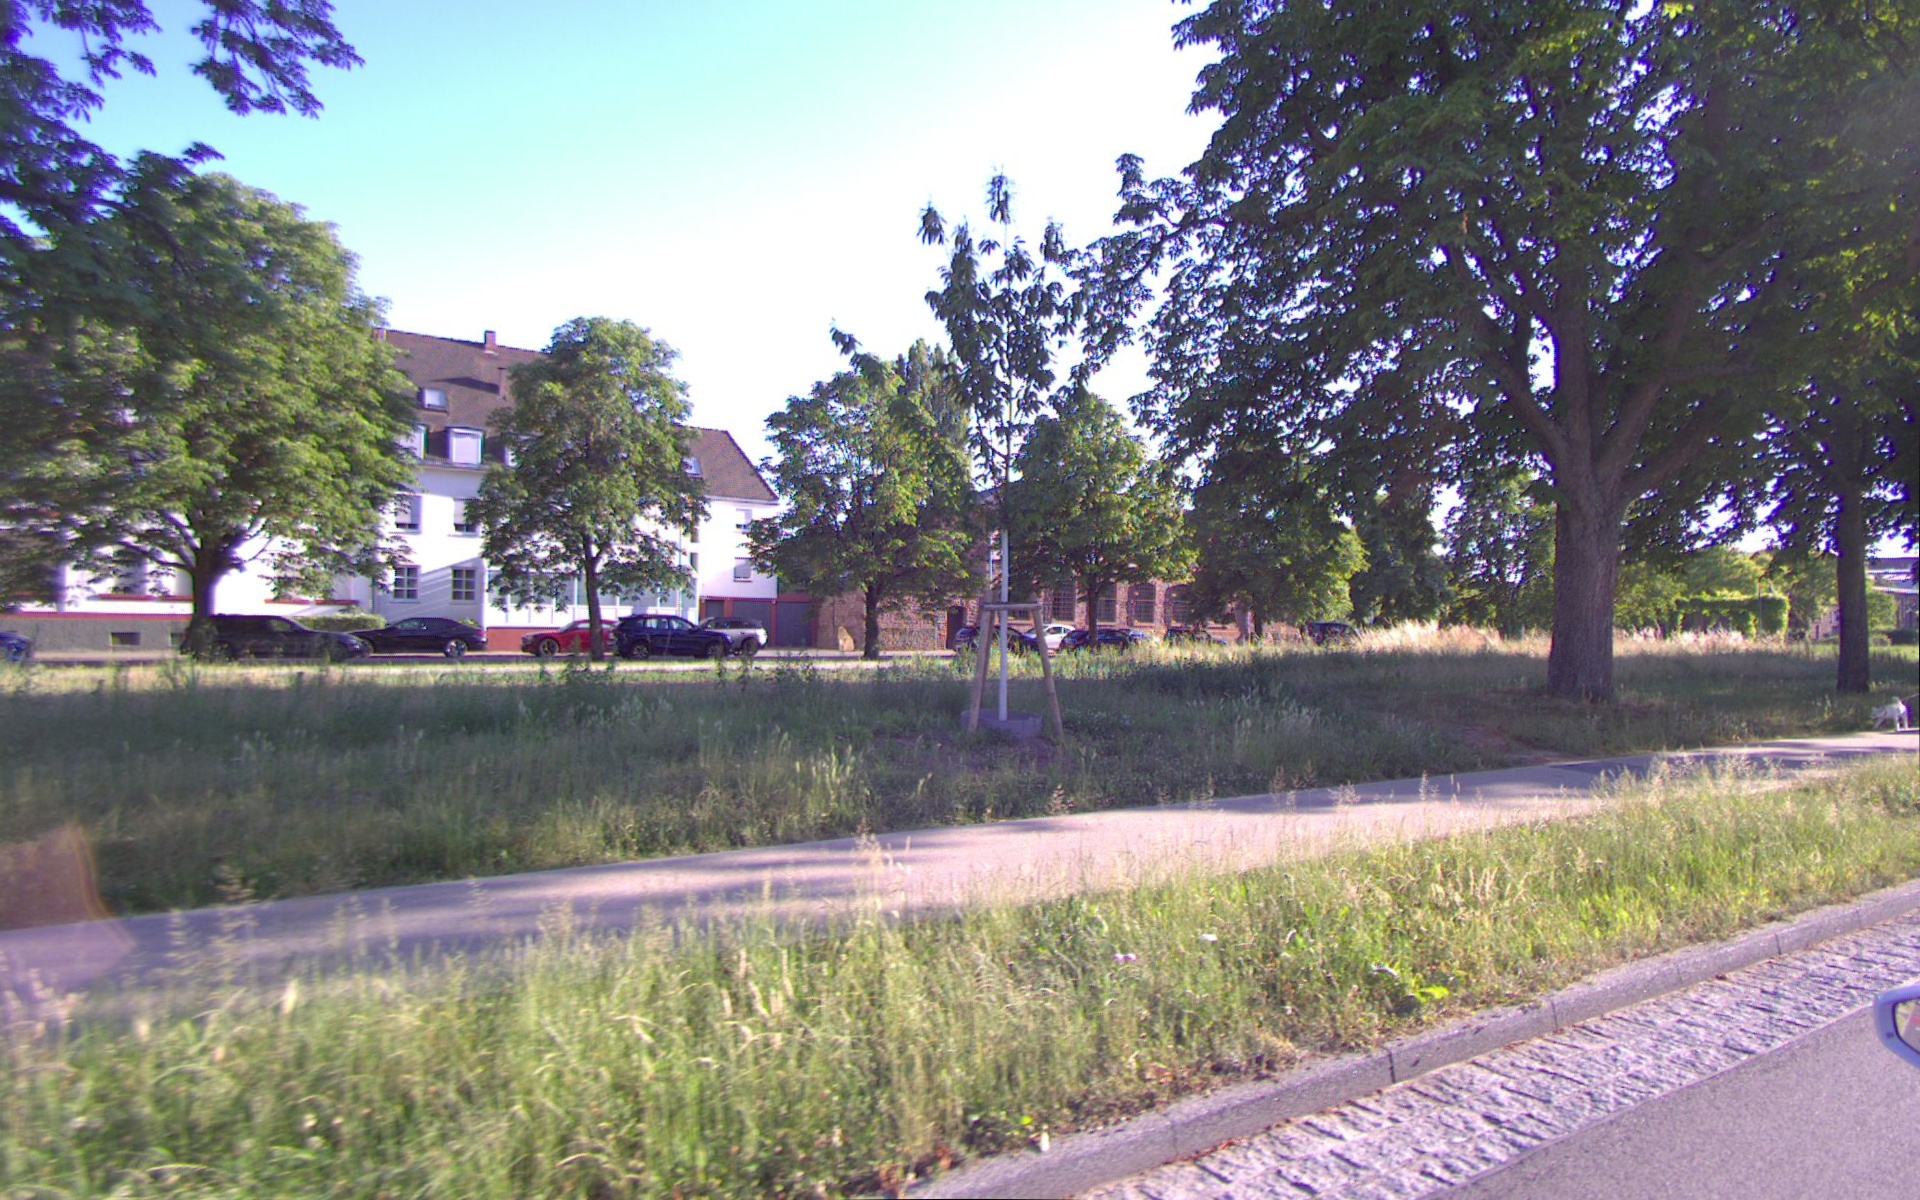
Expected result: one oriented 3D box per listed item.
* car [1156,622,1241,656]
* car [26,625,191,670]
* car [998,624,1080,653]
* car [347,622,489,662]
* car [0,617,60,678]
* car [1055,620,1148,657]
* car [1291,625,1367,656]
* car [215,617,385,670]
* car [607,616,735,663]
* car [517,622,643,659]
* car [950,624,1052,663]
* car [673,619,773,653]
[{"bbox_3d":[11.840,1.912,49.797,4.173,1.618,1.684,2,-1,-31],"label":"car"},{"bbox_3d":[-27.506,1.550,32.596,3.806,1.350,1.563,2,-1,-30],"label":"car"},{"bbox_3d":[4.022,1.965,51.168,3.954,1.424,1.621,1,-1,-31],"label":"car"},{"bbox_3d":[-19.621,1.528,36.526,4.427,1.350,1.563,2,-1,-30],"label":"car"},{"bbox_3d":[-26.881,1.245,26.682,4.177,1.618,1.682,2,-1,-34],"label":"car"},{"bbox_3d":[6.548,1.775,46.355,4.173,1.618,1.684,2,-1,-31],"label":"car"},{"bbox_3d":[20.176,2.205,54.890,4.173,1.618,1.684,2,-1,-31],"label":"car"},{"bbox_3d":[-19.882,1.294,30.460,4.175,1.496,1.683,2,-1,-33],"label":"car"},{"bbox_3d":[-10.423,1.416,36.305,4.173,1.618,1.684,2,-1,-31],"label":"car"},{"bbox_3d":[-14.880,1.601,39.414,4.425,1.350,1.563,2,-1,-30],"label":"car"},{"bbox_3d":[1.772,1.870,43.367,4.173,1.618,1.684,2,-1,-31],"label":"car"},{"bbox_3d":[-9.987,1.536,42.396,3.806,1.350,1.563,2,-1,-30],"label":"car"}]
